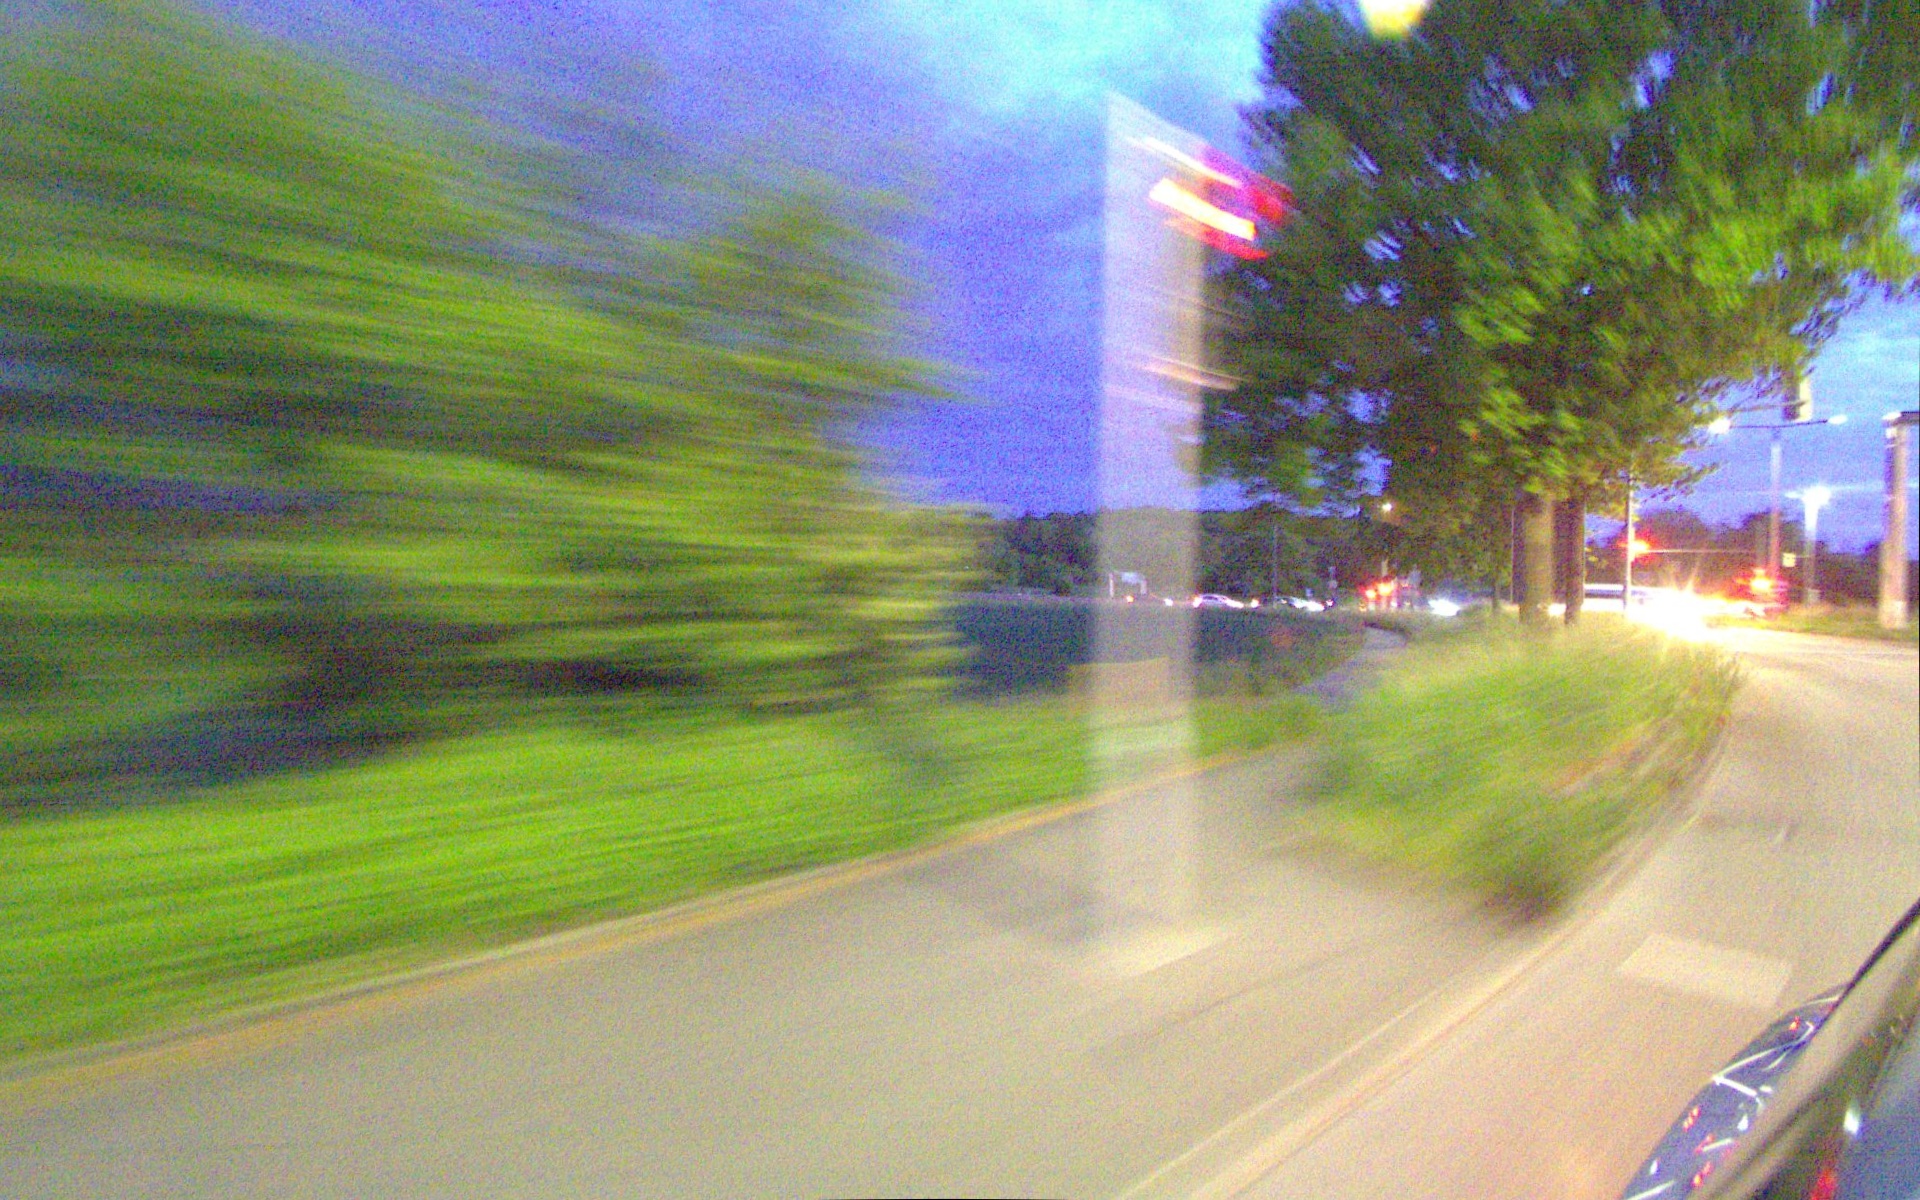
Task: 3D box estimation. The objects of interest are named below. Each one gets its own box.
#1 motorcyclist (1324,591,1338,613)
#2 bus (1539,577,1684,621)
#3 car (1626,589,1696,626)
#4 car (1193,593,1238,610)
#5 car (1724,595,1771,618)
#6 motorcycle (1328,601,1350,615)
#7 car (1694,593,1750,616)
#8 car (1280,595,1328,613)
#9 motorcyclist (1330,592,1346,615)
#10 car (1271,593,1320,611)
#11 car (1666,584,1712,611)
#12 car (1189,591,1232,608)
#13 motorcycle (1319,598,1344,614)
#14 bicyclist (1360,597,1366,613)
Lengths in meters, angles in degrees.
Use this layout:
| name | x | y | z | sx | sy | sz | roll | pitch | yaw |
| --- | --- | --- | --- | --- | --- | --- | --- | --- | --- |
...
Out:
| name | x | y | z | sx | sy | sz | roll | pitch | yaw |
| --- | --- | --- | --- | --- | --- | --- | --- | --- | --- |
| motorcyclist | 30.834 | 0.189 | 84.089 | 0.774 | 1.780 | 0.685 | -2 | 2 | -9 |
| bus | 62.252 | -0.039 | 96.805 | 12.045 | 3.839 | 2.614 | 1 | -2 | 1 |
| car | 33.092 | 0.348 | 47.879 | 1.650 | 1.674 | 4.381 | 0 | -1 | 20 |
| car | 26.795 | 0.145 | 106.128 | 4.321 | 1.647 | 1.734 | 2 | -1 | 28 |
| car | 54.897 | 0.472 | 70.617 | 1.756 | 1.466 | 3.747 | 1 | -1 | 25 |
| motorcycle | 31.156 | 0.675 | 83.226 | 1.546 | 1.045 | 0.724 | -3 | 2 | -3 |
| car | 49.829 | 0.326 | 66.260 | 1.856 | 1.415 | 4.798 | 1 | -1 | 24 |
| car | 35.820 | 0.401 | 105.317 | 4.540 | 1.654 | 1.840 | 2 | -1 | 27 |
| motorcyclist | 31.039 | 0.302 | 83.196 | 0.853 | 1.830 | 0.918 | -3 | 2 | -4 |
| car | 33.887 | 0.182 | 102.248 | 4.378 | 1.704 | 1.896 | 2 | -1 | 28 |
| car | 52.783 | -0.160 | 73.378 | 1.830 | 1.837 | 4.732 | 1 | -1 | 25 |
| car | 25.389 | -0.046 | 102.483 | 3.961 | 1.544 | 1.820 | 2 | 0 | 27 |
| motorcycle | 30.881 | 0.525 | 84.103 | 1.784 | 1.196 | 0.851 | -2 | 2 | -9 |
| bicyclist | 42.854 | 0.528 | 107.618 | 0.596 | 1.672 | 0.993 | 1 | -1 | 20 |
